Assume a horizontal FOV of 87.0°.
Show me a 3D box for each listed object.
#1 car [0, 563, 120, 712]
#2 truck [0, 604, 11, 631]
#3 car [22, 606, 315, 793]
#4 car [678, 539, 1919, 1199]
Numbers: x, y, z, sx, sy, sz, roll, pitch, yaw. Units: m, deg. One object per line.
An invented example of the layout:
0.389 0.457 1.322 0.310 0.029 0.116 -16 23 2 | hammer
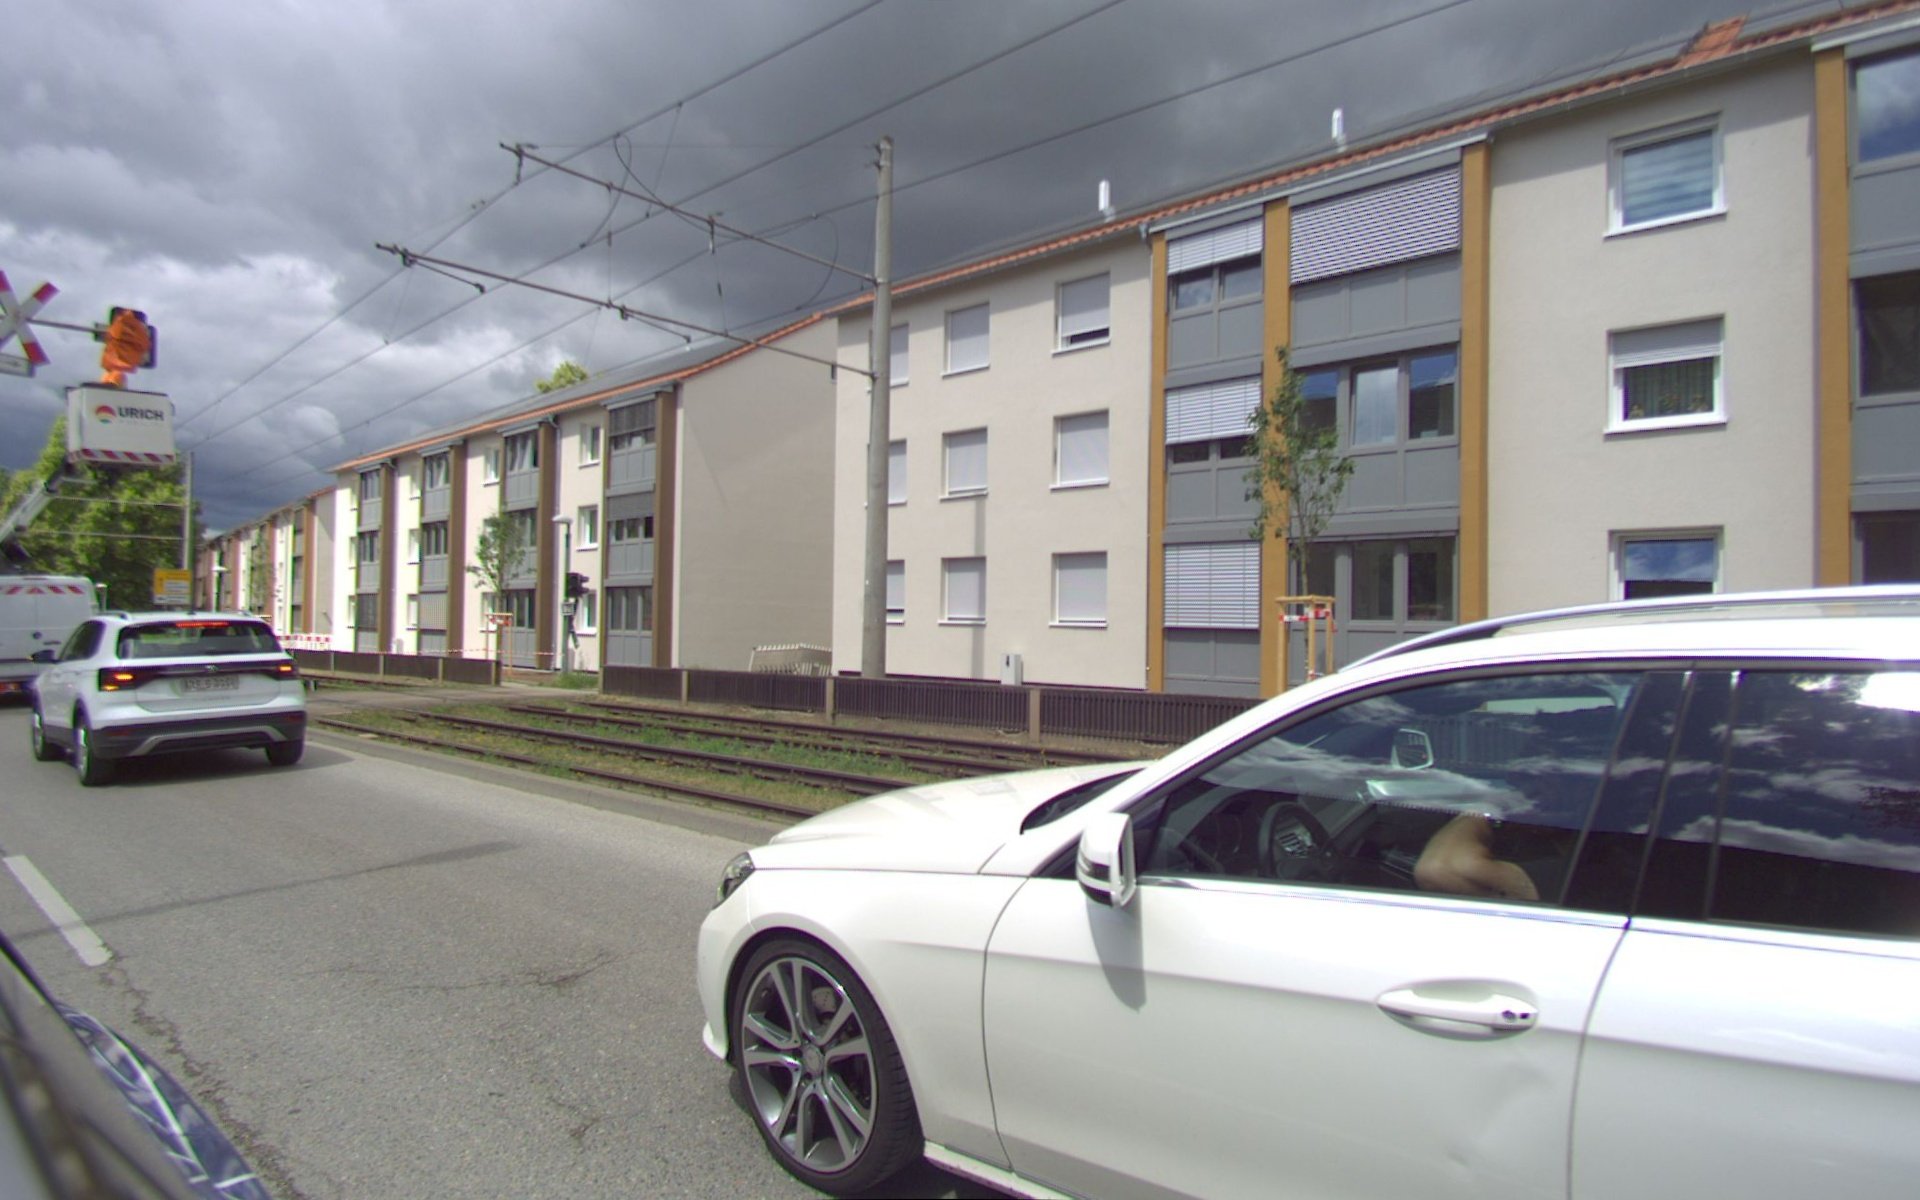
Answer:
-17.839 0.682 19.179 6.318 2.449 1.973 -2 -1 41 | car
-92.149 1.584 95.016 2.377 2.588 5.601 1 -2 -19 | truck
-8.279 0.868 10.464 3.915 1.564 1.700 -1 -1 41 | car
1.537 0.674 2.049 4.525 1.492 1.860 -1 -1 41 | car
